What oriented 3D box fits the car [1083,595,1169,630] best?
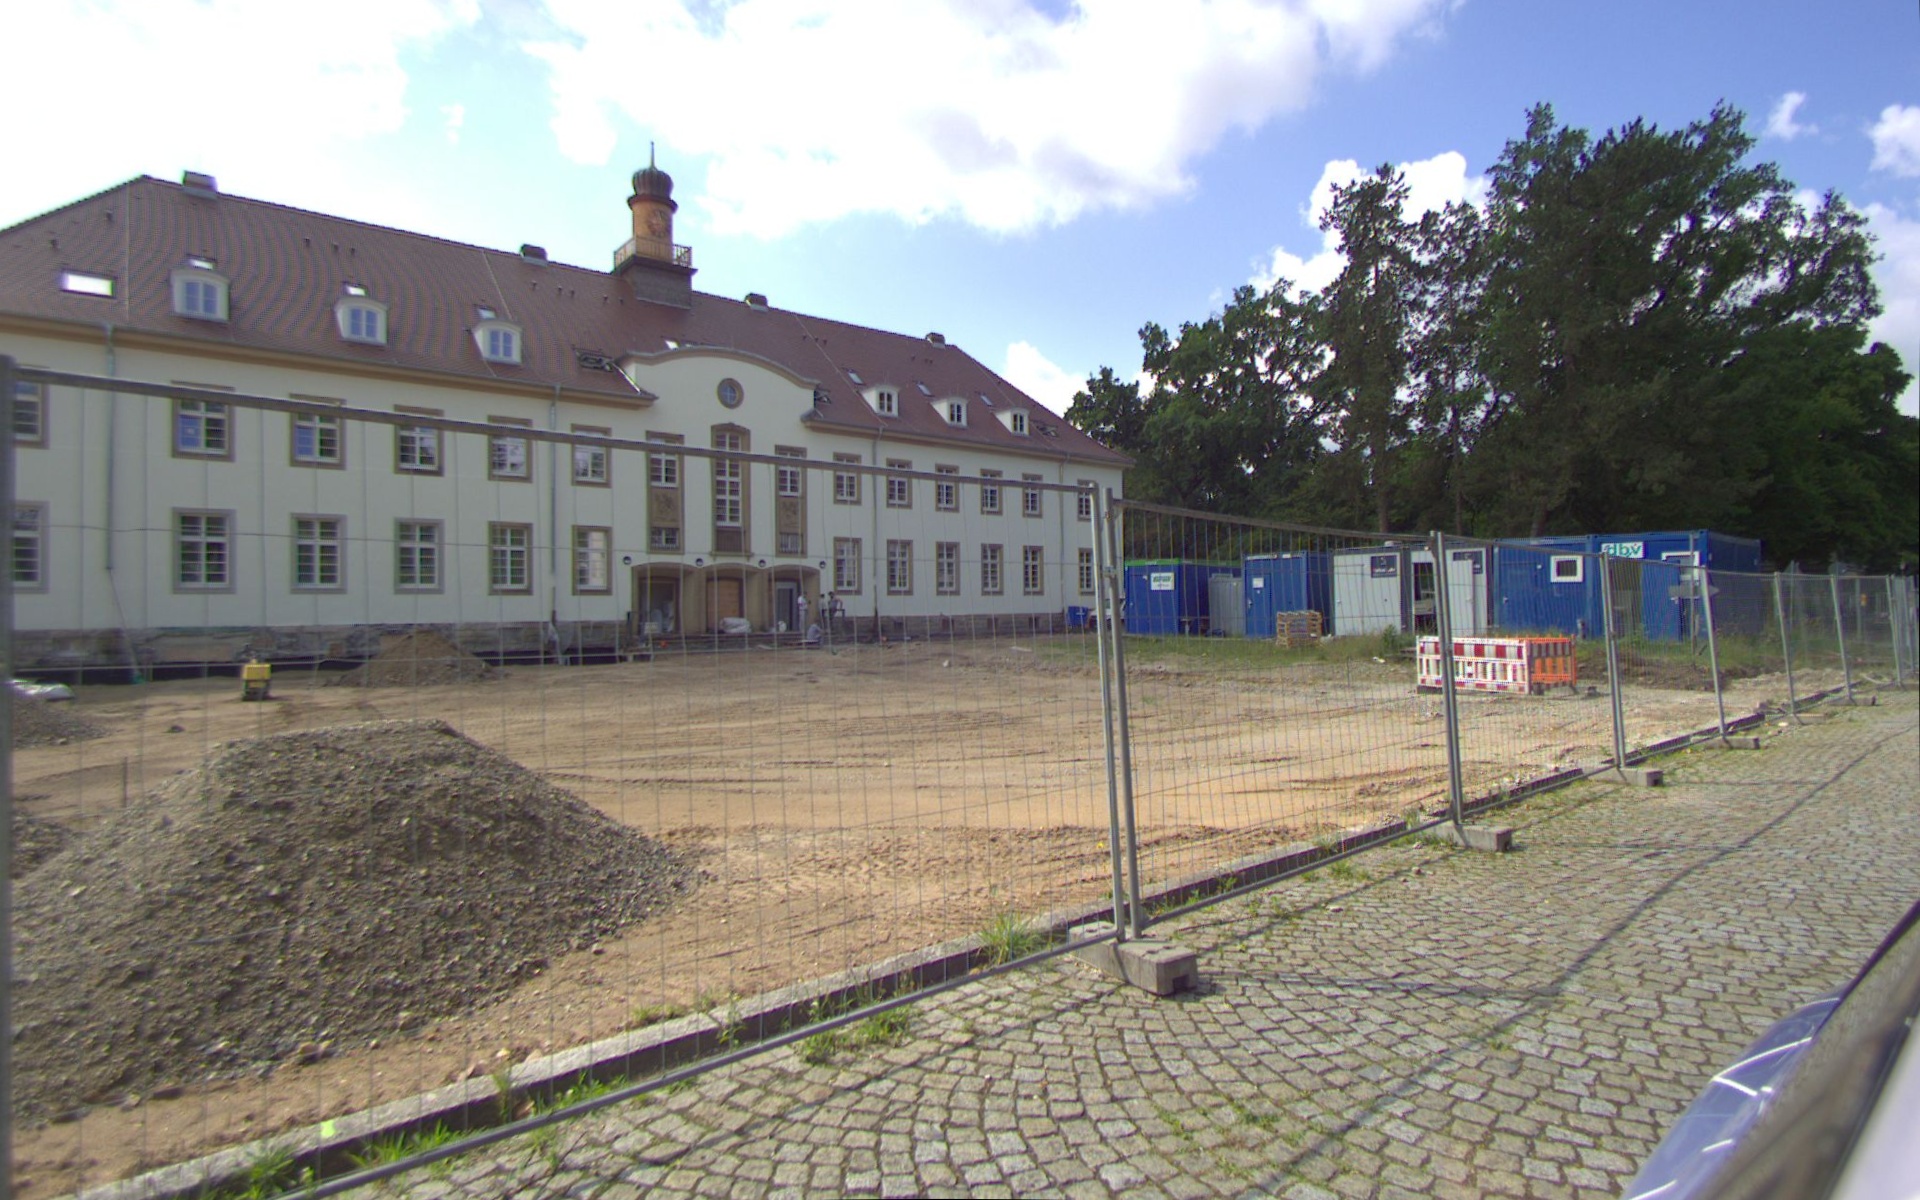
[{"bbox_3d":[8.795,0.623,53.335,4.623,1.750,1.884,-1,0,-39],"label":"car"}]

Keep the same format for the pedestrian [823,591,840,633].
[{"bbox_3d":[-5.482,0.512,43.097,0.498,1.811,0.490,0,-2,-43],"label":"pedestrian"}]

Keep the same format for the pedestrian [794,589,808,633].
[{"bbox_3d":[-6.636,0.459,42.248,0.496,1.811,0.492,0,-1,-17],"label":"pedestrian"}]

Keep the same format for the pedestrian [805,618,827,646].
[{"bbox_3d":[-5.828,1.299,40.951,0.697,1.128,0.490,0,-2,-42],"label":"pedestrian"}]

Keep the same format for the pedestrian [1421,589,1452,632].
[{"bbox_3d":[14.015,0.307,29.764,0.671,1.259,0.602,0,-2,-41],"label":"pedestrian"}]
